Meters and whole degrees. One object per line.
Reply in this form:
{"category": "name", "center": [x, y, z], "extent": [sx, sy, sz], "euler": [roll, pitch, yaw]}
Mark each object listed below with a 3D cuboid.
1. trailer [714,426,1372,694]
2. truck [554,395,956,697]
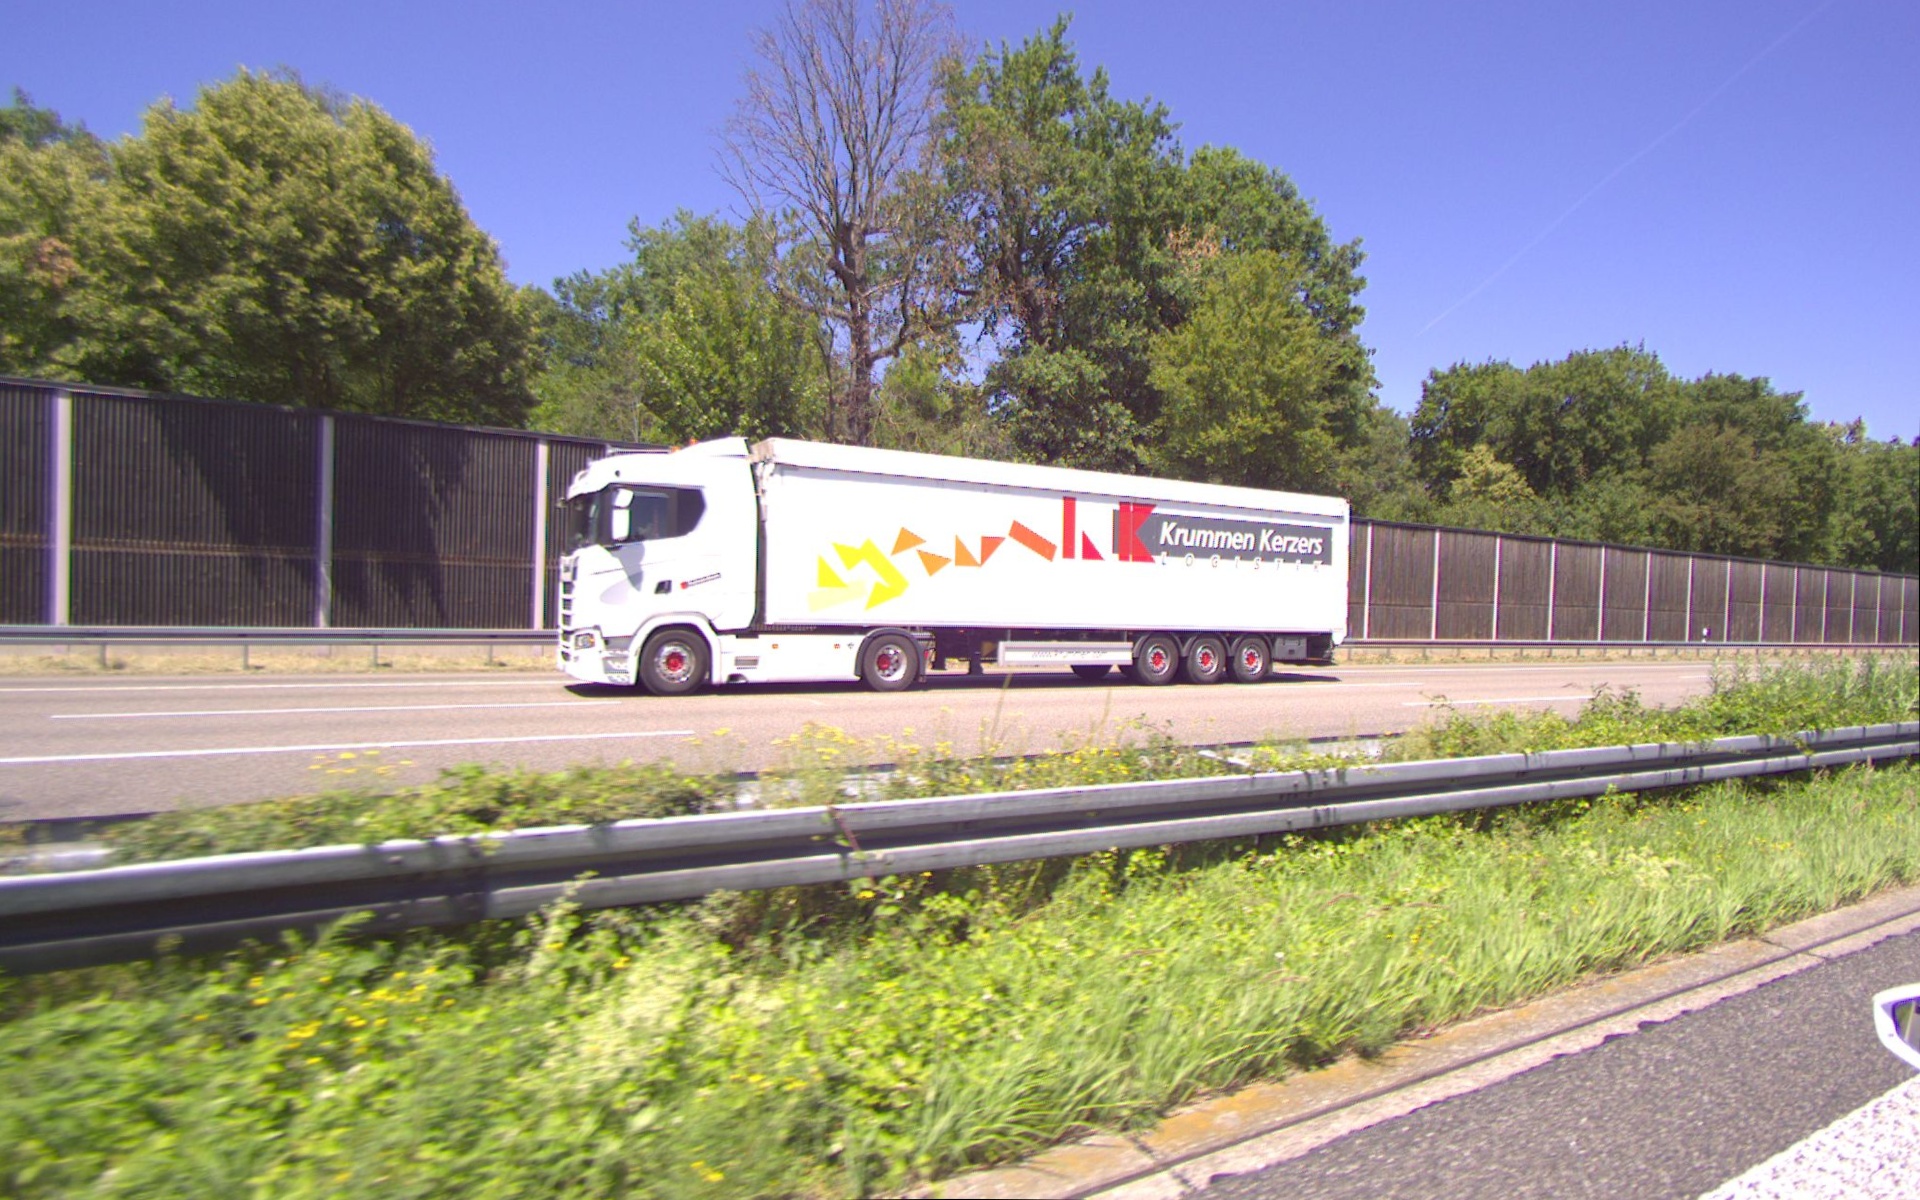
{"category": "trailer", "center": [2.473, -0.394, 20.307], "extent": [14.222, 4.129, 2.741], "euler": [2, 0, -31]}
{"category": "truck", "center": [-3.371, -0.677, 16.851], "extent": [5.966, 4.248, 2.717], "euler": [2, 0, -30]}
